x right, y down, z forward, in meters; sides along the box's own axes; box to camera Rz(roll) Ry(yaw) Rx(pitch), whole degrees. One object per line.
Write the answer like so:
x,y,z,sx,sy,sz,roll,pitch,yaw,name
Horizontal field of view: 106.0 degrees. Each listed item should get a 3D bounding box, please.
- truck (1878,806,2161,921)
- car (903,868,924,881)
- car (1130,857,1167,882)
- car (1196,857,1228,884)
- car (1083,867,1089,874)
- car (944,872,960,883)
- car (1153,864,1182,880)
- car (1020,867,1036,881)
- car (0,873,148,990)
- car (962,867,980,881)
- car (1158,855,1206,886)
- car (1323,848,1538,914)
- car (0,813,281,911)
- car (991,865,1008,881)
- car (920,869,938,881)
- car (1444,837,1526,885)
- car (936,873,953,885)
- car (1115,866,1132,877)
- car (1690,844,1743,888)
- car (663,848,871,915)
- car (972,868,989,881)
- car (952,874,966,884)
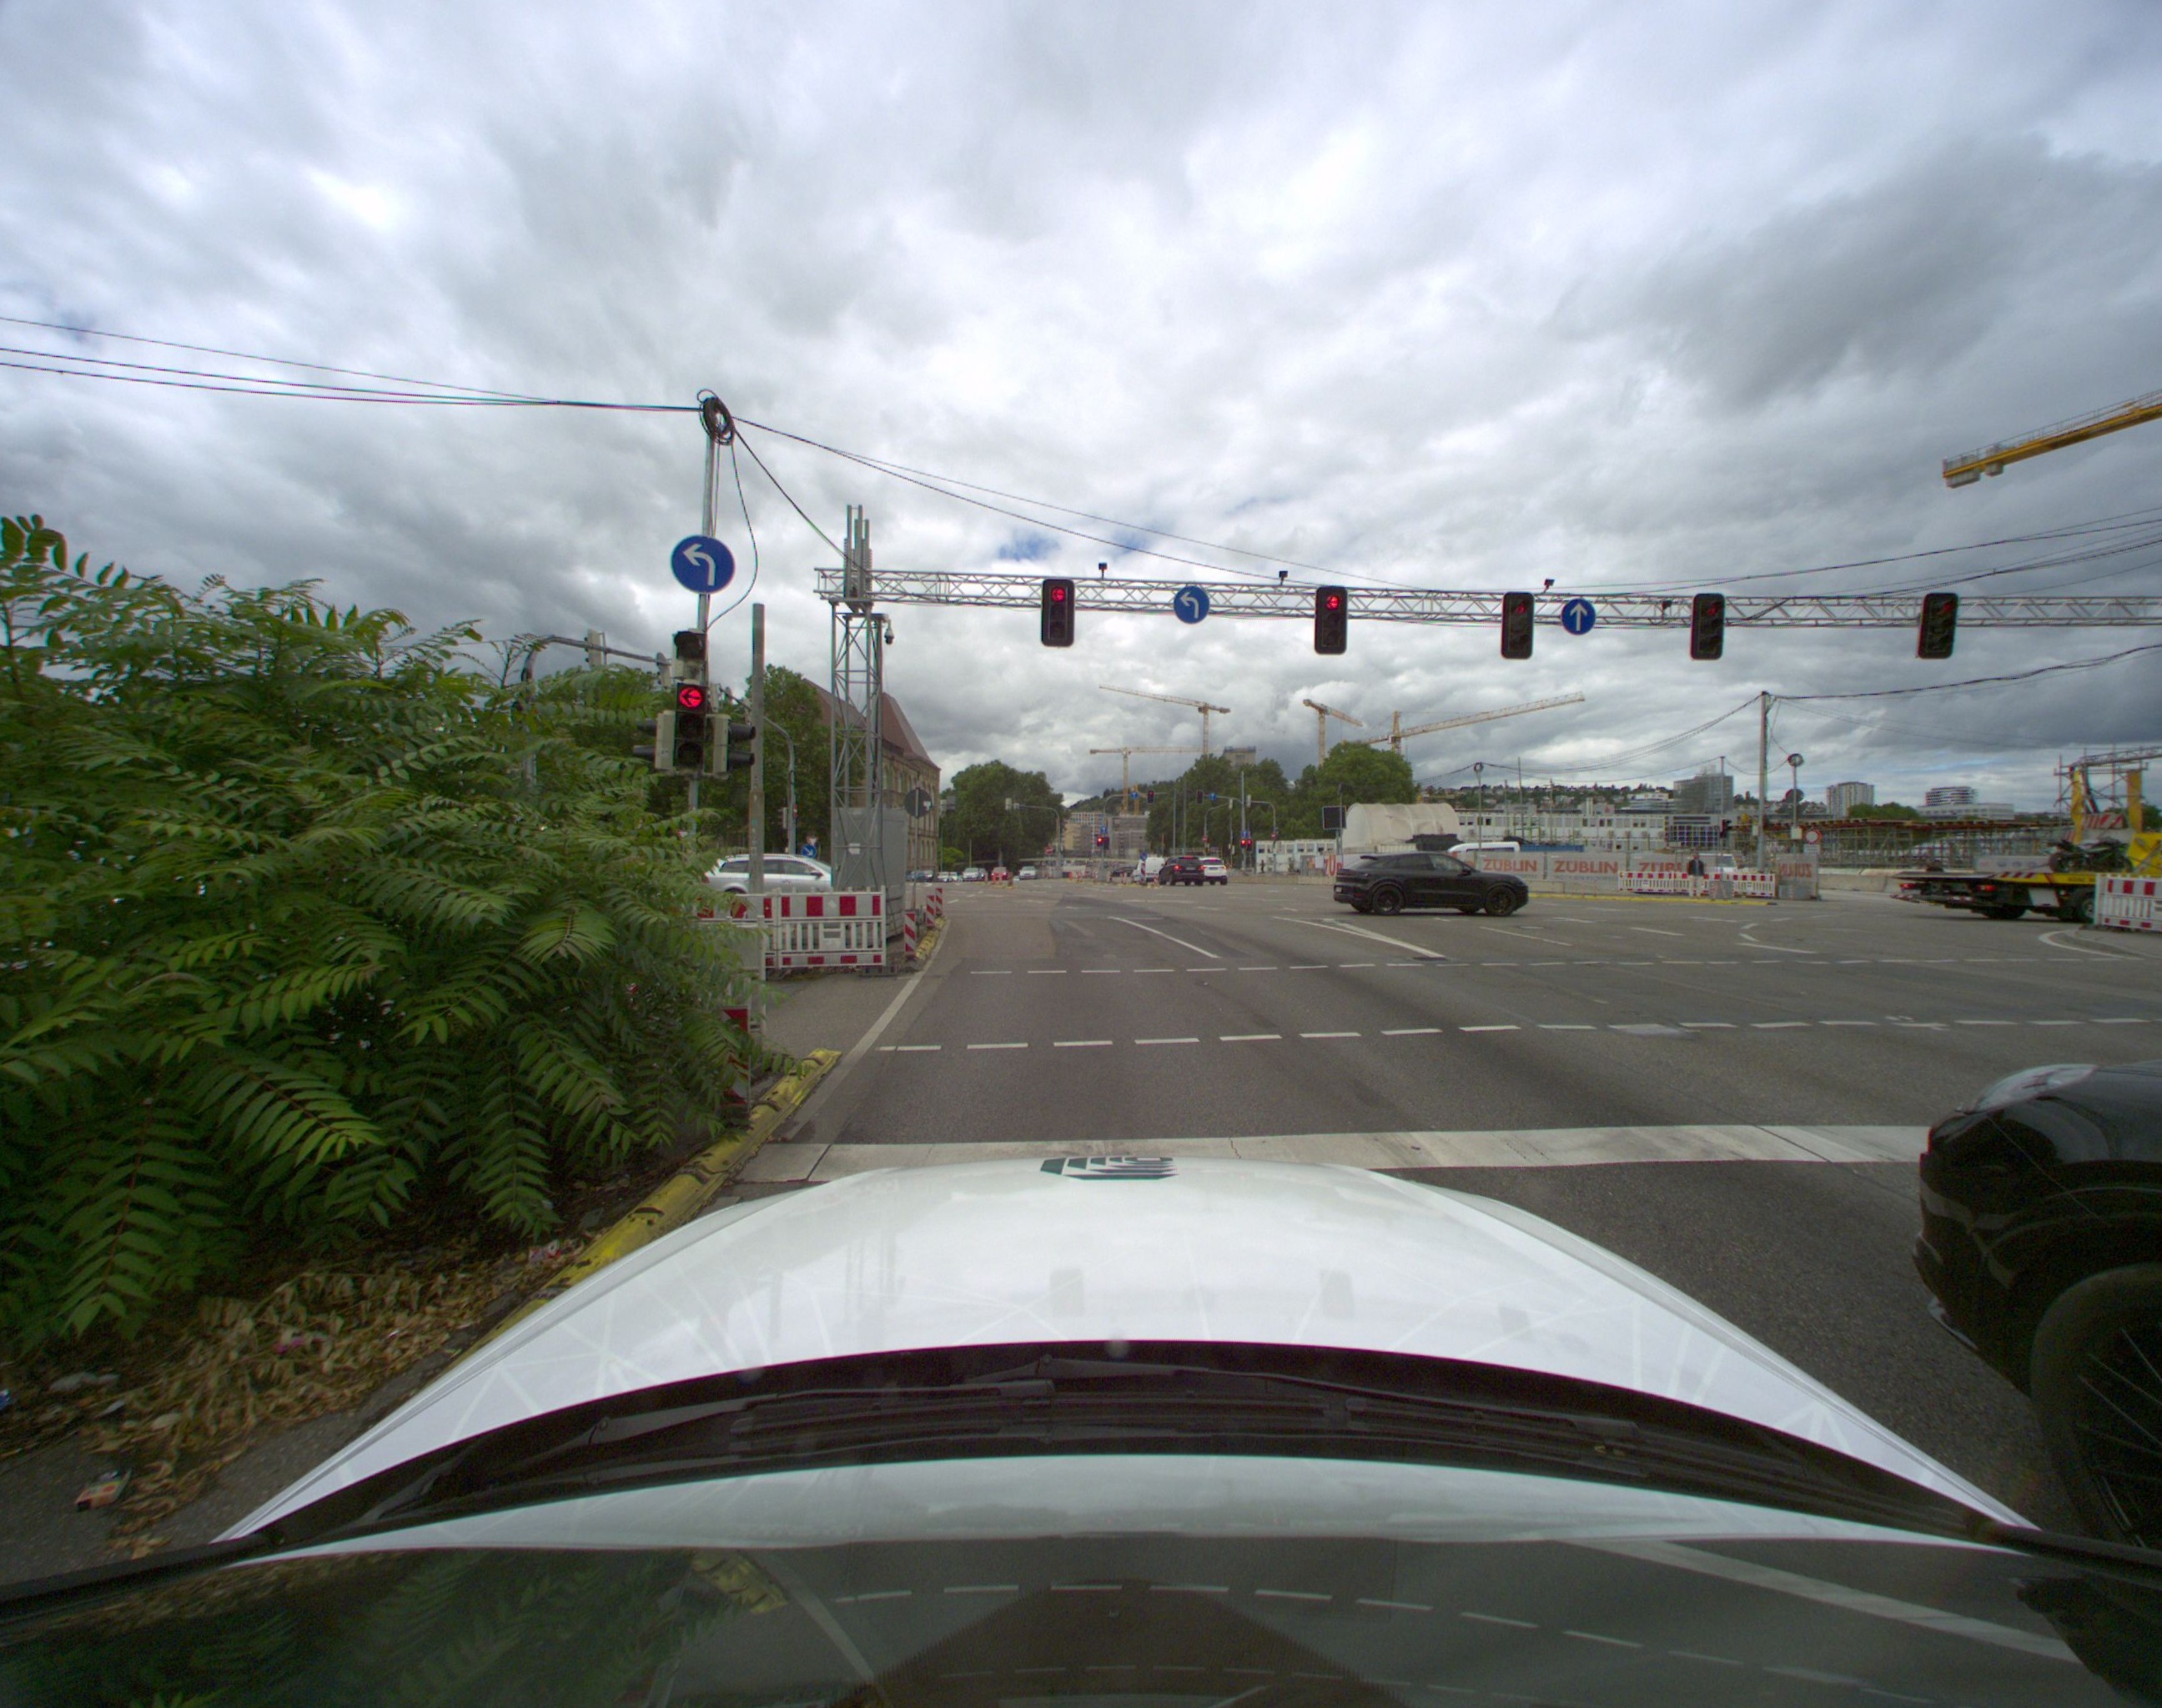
26.628,0.232,21.269,8.947,2.803,2.628,0,0,1,truck
-17.906,2.171,87.081,1.673,1.398,3.677,0,-1,-4,car
4.567,1.017,55.572,1.814,1.625,3.992,0,-1,-5,car
8.479,1.054,52.994,1.670,1.702,3.375,0,-1,2,car
1.544,4.960,248.108,1.987,2.013,3.999,0,0,-1,car
-17.199,3.154,108.646,1.672,1.398,3.677,-1,-3,-4,car
8.019,1.677,75.953,1.680,1.398,3.069,0,-1,-16,car
-5.584,2.066,85.306,1.673,1.398,3.677,0,-1,-4,car
-17.270,1.182,13.444,4.054,1.625,1.917,0,0,33,car
-11.620,2.116,86.070,1.673,1.398,3.677,0,-1,-4,car
5.960,0.940,48.488,1.830,1.746,4.244,0,-1,-8,car
8.997,0.686,21.338,4.787,1.625,2.022,0,-1,3,car
-24.331,0.193,20.567,5.745,2.305,2.301,0,-1,-3,car
-8.480,1.994,85.086,1.673,1.580,3.677,0,-1,-4,car
-17.401,2.391,93.500,1.673,1.398,3.677,0,-1,-4,car
23.231,0.420,46.968,3.957,2.662,1.688,-1,-1,15,car
-17.059,3.129,101.979,1.673,1.398,3.677,0,-1,-4,car
5.527,2.301,105.527,1.673,1.398,3.677,0,-1,-5,car
30.133,0.559,38.695,1.755,1.954,3.146,-1,-1,34,car
-7.992,0.676,21.023,4.697,1.625,1.680,0,-1,-2,car
-11.367,2.265,92.227,1.673,1.398,3.677,0,-1,-4,car
-17.558,3.559,117.156,1.673,1.398,3.677,0,-1,-4,car
